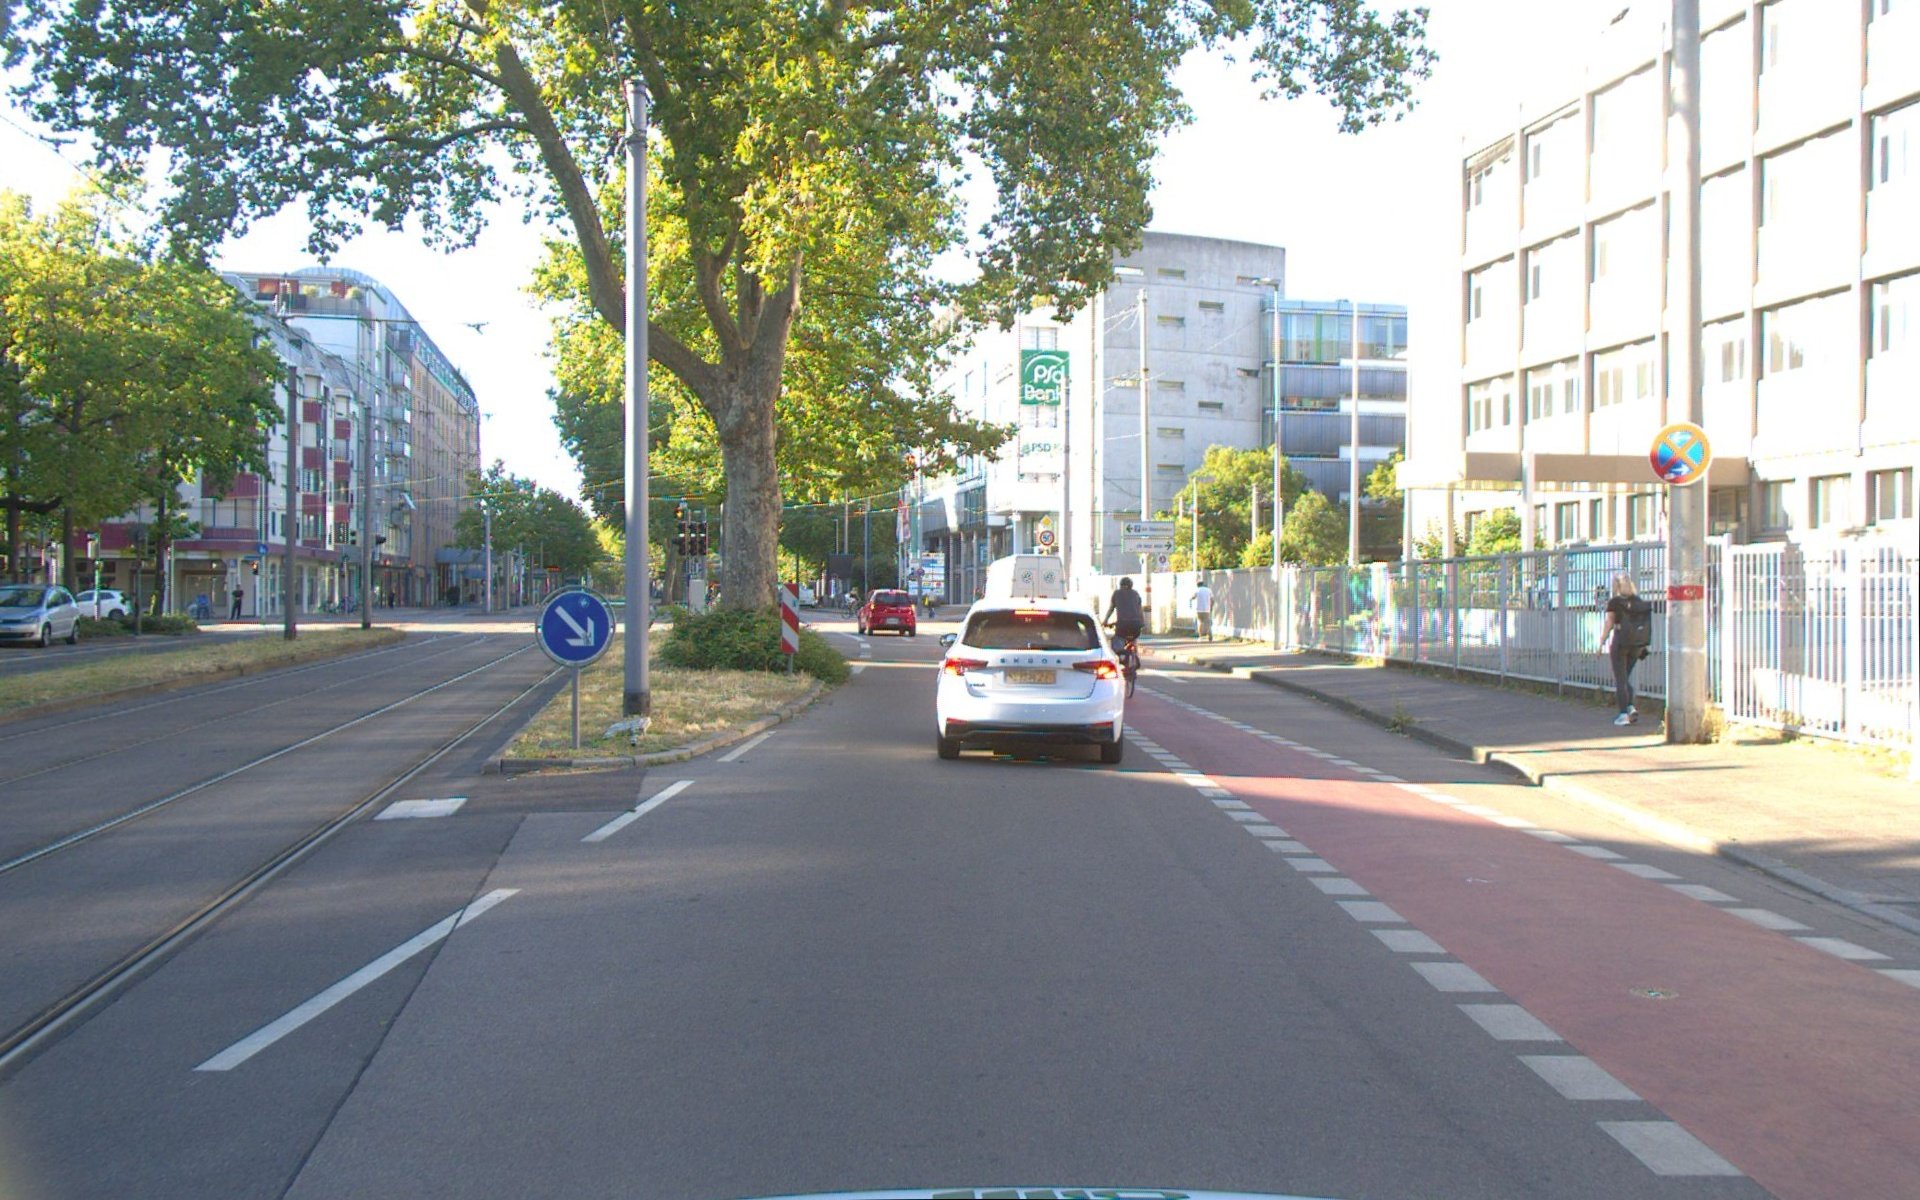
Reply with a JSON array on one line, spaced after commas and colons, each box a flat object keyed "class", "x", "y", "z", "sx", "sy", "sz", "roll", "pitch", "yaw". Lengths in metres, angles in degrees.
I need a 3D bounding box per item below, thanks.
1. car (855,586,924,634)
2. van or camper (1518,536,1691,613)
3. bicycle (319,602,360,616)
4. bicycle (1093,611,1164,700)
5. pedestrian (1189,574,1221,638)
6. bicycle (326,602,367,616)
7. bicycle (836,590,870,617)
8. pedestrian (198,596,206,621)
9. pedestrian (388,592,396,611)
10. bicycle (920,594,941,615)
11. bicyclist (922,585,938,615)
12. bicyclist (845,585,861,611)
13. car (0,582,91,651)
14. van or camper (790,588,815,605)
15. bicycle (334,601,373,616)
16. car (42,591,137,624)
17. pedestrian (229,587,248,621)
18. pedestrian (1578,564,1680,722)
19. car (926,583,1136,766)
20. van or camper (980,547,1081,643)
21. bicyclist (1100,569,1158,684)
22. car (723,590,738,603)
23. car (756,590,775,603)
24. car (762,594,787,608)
[{"class": "car", "x": -2.358, "y": 0.308, "z": 54.358, "sx": 1.806, "sy": 1.515, "sz": 3.707, "roll": 0, "pitch": 0, "yaw": -10}, {"class": "van or camper", "x": 17.091, "y": -0.669, "z": 44.183, "sx": 1.945, "sy": 1.942, "sz": 4.986, "roll": -1, "pitch": 1, "yaw": -11}, {"class": "bicycle", "x": -35.476, "y": 0.517, "z": 94.595, "sx": 2.132, "sy": 0.801, "sz": 0.638, "roll": 0, "pitch": 0, "yaw": -14}, {"class": "bicycle", "x": 2.539, "y": 0.813, "z": 25.141, "sx": 0.729, "sy": 1.245, "sz": 2.155, "roll": 2, "pitch": 0, "yaw": -3}, {"class": "pedestrian", "x": 6.965, "y": 0.159, "z": 46.981, "sx": 0.770, "sy": 1.779, "sz": 0.772, "roll": -1, "pitch": 0, "yaw": -1}, {"class": "bicycle", "x": -35.365, "y": 0.507, "z": 95.389, "sx": 2.132, "sy": 0.801, "sz": 0.490, "roll": 0, "pitch": 0, "yaw": -14}, {"class": "bicycle", "x": -5.848, "y": 0.182, "z": 90.508, "sx": 1.980, "sy": 1.403, "sz": 0.636, "roll": -1, "pitch": 1, "yaw": -45}, {"class": "pedestrian", "x": -38.590, "y": 0.436, "z": 84.168, "sx": 0.298, "sy": 1.235, "sz": 0.317, "roll": -1, "pitch": 0, "yaw": -16}, {"class": "pedestrian", "x": -44.395, "y": 0.133, "z": 129.271, "sx": 0.502, "sy": 1.484, "sz": 0.526, "roll": 0, "pitch": 0, "yaw": -16}, {"class": "bicycle", "x": -1.689, "y": 0.259, "z": 94.991, "sx": 0.778, "sy": 1.182, "sz": 2.492, "roll": 0, "pitch": 0, "yaw": -12}, {"class": "bicyclist", "x": -1.723, "y": -0.002, "z": 95.107, "sx": 0.771, "sy": 1.663, "sz": 0.637, "roll": 0, "pitch": 0, "yaw": -13}, {"class": "bicyclist", "x": -5.840, "y": -0.097, "z": 90.527, "sx": 0.626, "sy": 1.413, "sz": 0.603, "roll": 0, "pitch": 0, "yaw": 45}, {"class": "car", "x": -24.345, "y": 0.395, "z": 43.116, "sx": 1.959, "sy": 1.719, "sz": 4.165, "roll": 0, "pitch": 0, "yaw": -13}, {"class": "van or camper", "x": -17.014, "y": -0.398, "z": 178.978, "sx": 2.108, "sy": 1.781, "sz": 4.417, "roll": -1, "pitch": 1, "yaw": -13}, {"class": "bicycle", "x": -35.471, "y": 0.485, "z": 96.747, "sx": 2.132, "sy": 0.838, "sz": 0.526, "roll": 0, "pitch": 0, "yaw": -14}, {"class": "car", "x": -42.861, "y": 0.356, "z": 81.523, "sx": 3.932, "sy": 1.489, "sz": 1.790, "roll": -1, "pitch": 0, "yaw": -22}, {"class": "pedestrian", "x": -36.269, "y": 0.182, "z": 83.167, "sx": 0.696, "sy": 1.691, "sz": 1.029, "roll": -1, "pitch": 0, "yaw": -15}, {"class": "pedestrian", "x": 7.430, "y": 0.460, "z": 18.399, "sx": 0.682, "sy": 1.713, "sz": 0.929, "roll": 0, "pitch": 0, "yaw": -7}, {"class": "car", "x": 0.760, "y": 0.627, "z": 16.068, "sx": 1.764, "sy": 1.527, "sz": 3.983, "roll": 1, "pitch": 0, "yaw": 5}, {"class": "van or camper", "x": 2.166, "y": -0.172, "z": 52.943, "sx": 2.225, "sy": 2.781, "sz": 6.338, "roll": 2, "pitch": 0, "yaw": -6}, {"class": "bicyclist", "x": 2.558, "y": 0.392, "z": 25.075, "sx": 0.728, "sy": 1.698, "sz": 0.744, "roll": 2, "pitch": 0, "yaw": -3}, {"class": "car", "x": -29.648, "y": -0.415, "z": 213.735, "sx": 1.628, "sy": 1.635, "sz": 3.521, "roll": -1, "pitch": 1, "yaw": -11}, {"class": "car", "x": -24.351, "y": -0.420, "z": 207.383, "sx": 1.852, "sy": 1.555, "sz": 4.417, "roll": -1, "pitch": 1, "yaw": -13}, {"class": "car", "x": -21.550, "y": 0.108, "z": 192.327, "sx": 2.435, "sy": 1.555, "sz": 4.418, "roll": -1, "pitch": 1, "yaw": -12}]
